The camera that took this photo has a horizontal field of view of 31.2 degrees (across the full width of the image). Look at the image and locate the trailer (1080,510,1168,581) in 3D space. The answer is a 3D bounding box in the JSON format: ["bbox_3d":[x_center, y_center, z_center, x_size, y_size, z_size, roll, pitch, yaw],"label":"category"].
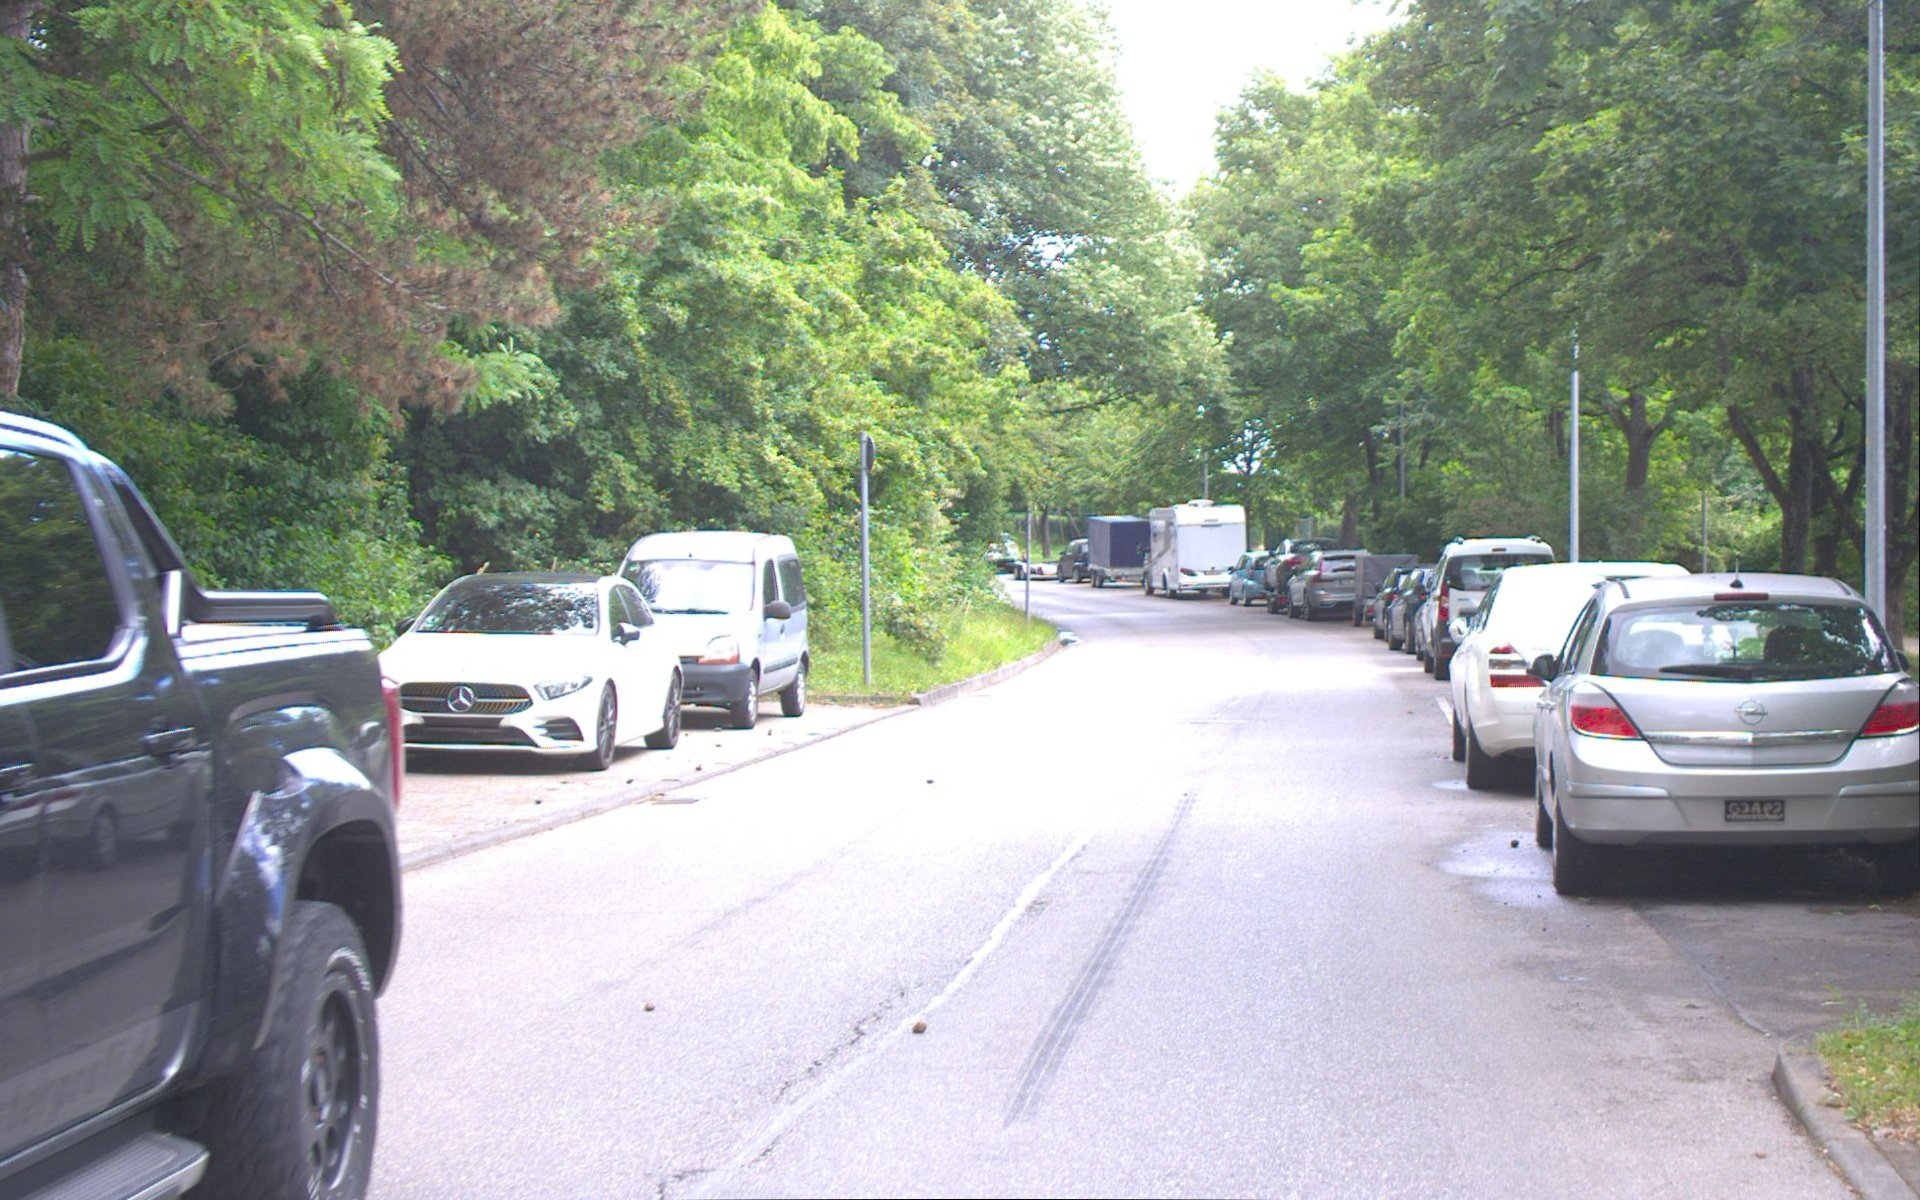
[{"bbox_3d":[5.626,-1.899,118.520,1.993,2.390,4.001,-1,1,-14],"label":"trailer"}]

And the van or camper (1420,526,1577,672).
[{"bbox_3d":[7.075,0.006,45.498,1.802,1.831,4.319,0,-1,6],"label":"van or camper"}]

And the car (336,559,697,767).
[{"bbox_3d":[-3.312,0.417,26.498,1.806,1.398,4.371,2,1,5],"label":"car"}]

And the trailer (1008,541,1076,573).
[{"bbox_3d":[3.029,-1.609,127.811,1.651,1.083,4.001,-3,2,-11],"label":"trailer"}]

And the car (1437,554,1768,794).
[{"bbox_3d":[4.411,0.435,24.295,1.886,1.501,5.175,0,1,6],"label":"car"}]

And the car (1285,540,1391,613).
[{"bbox_3d":[8.941,-0.539,81.709,1.792,1.664,4.502,-1,0,-3],"label":"car"}]

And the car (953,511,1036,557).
[{"bbox_3d":[1.355,-2.649,136.970,2.034,1.797,4.084,-1,2,-19],"label":"car"}]

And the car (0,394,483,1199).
[{"bbox_3d":[-2.404,0.543,5.955,1.994,1.730,5.336,0,1,5],"label":"car"}]

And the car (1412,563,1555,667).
[{"bbox_3d":[7.769,0.191,51.316,1.813,1.432,4.242,1,1,5],"label":"car"}]

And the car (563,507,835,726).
[{"bbox_3d":[-2.433,0.093,33.024,1.721,1.915,4.103,2,2,8],"label":"car"}]

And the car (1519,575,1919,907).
[{"bbox_3d":[3.722,0.600,16.885,1.793,1.406,4.058,-1,1,8],"label":"car"}]

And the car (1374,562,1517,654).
[{"bbox_3d":[8.164,0.103,58.132,1.847,1.469,4.479,0,1,1],"label":"car"}]

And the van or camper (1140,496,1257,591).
[{"bbox_3d":[7.416,-1.768,107.718,2.481,2.866,6.891,0,1,-6],"label":"van or camper"}]

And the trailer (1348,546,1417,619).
[{"bbox_3d":[9.259,-0.399,75.414,1.278,1.579,2.460,0,1,2],"label":"trailer"}]

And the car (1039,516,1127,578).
[{"bbox_3d":[4.402,-1.923,123.674,1.993,2.019,4.002,-3,3,-14],"label":"car"}]

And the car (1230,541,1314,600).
[{"bbox_3d":[8.818,-0.857,97.408,1.799,1.556,3.836,-1,2,-4],"label":"car"}]

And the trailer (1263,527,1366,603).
[{"bbox_3d":[9.035,-0.914,88.028,1.979,1.805,5.149,-1,2,-1],"label":"trailer"}]
